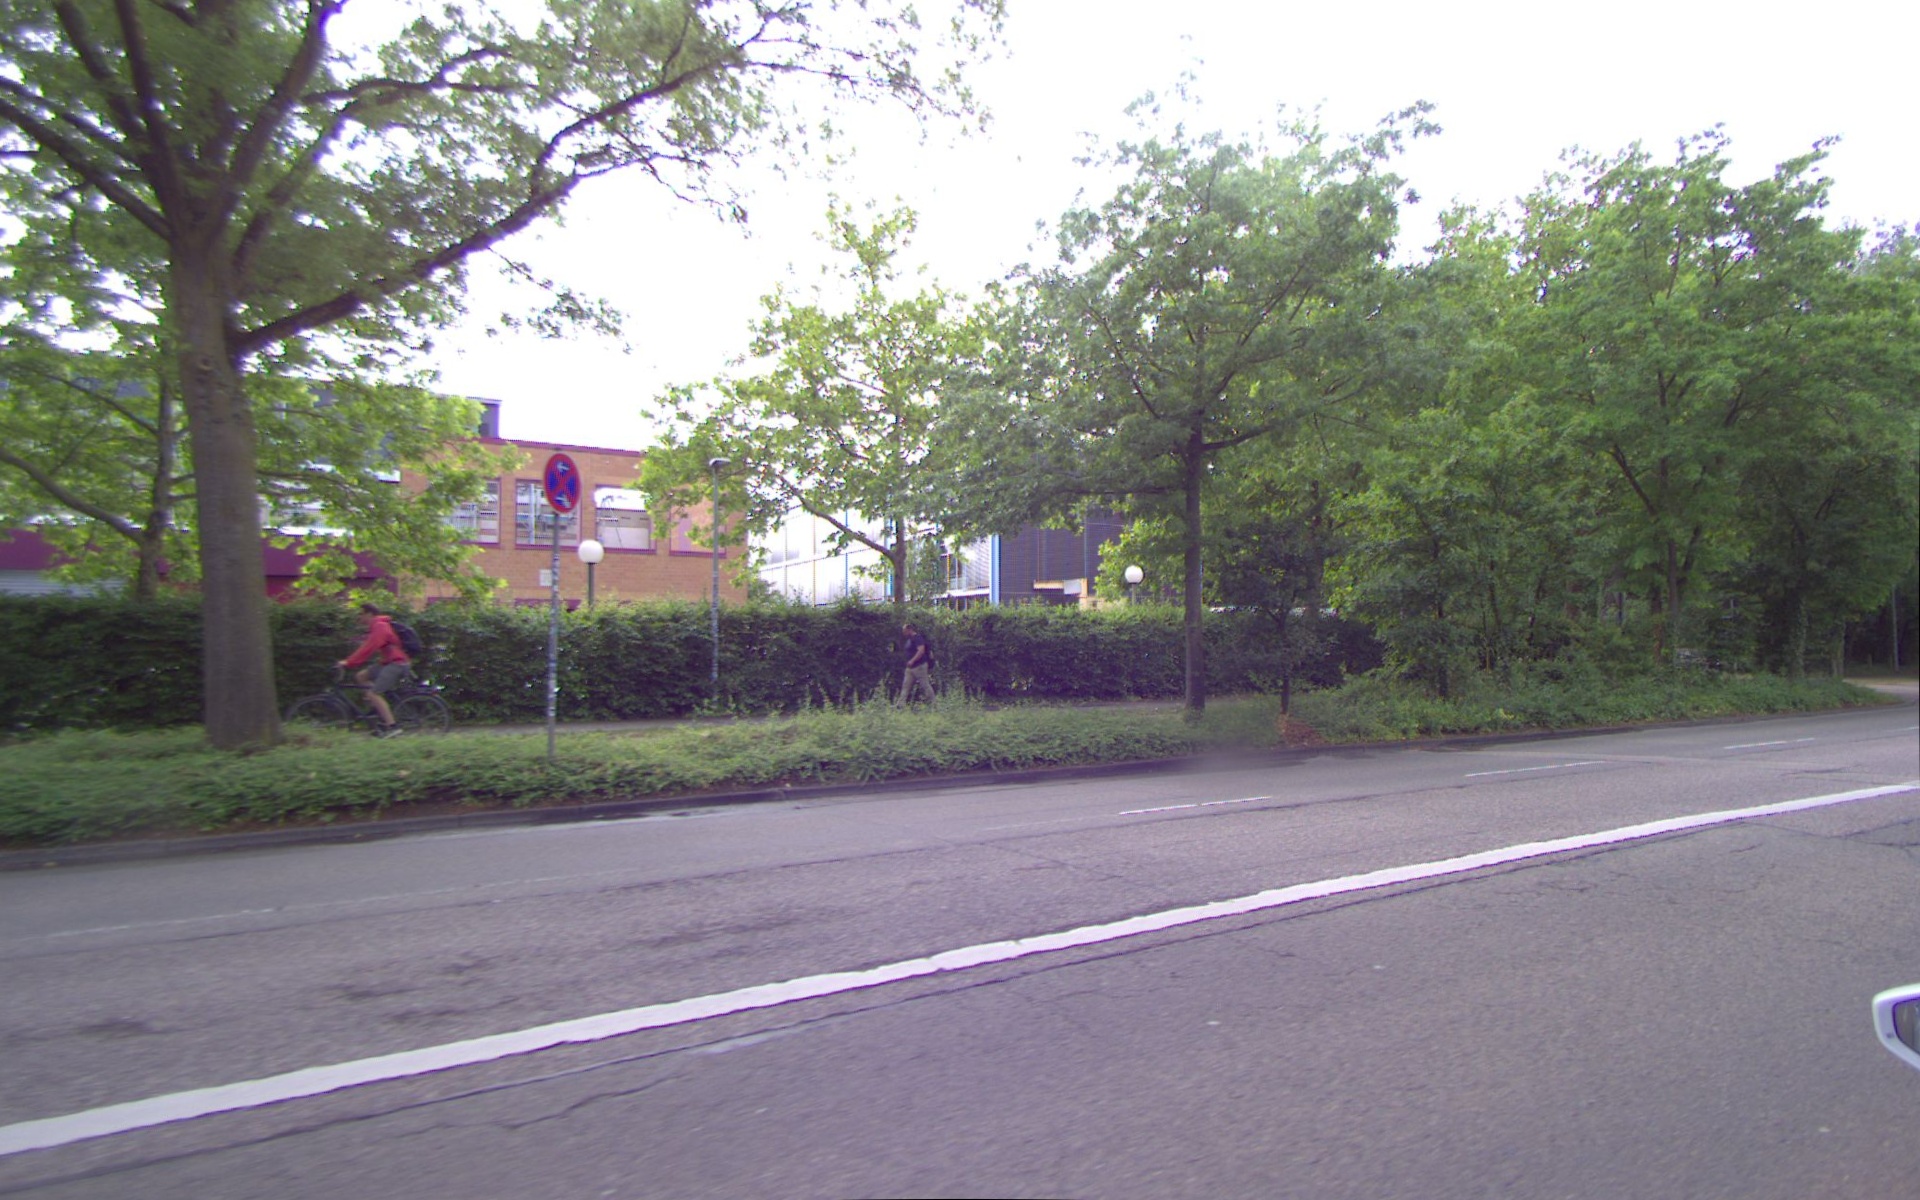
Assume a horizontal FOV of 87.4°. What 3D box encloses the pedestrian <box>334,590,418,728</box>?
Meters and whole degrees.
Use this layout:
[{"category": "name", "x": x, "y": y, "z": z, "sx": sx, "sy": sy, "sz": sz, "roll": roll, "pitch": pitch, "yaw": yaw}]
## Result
[{"category": "pedestrian", "x": -7.196, "y": 0.706, "z": 12.403, "sx": 0.838, "sy": 1.635, "sz": 0.788, "roll": 1, "pitch": -1, "yaw": -30}]
